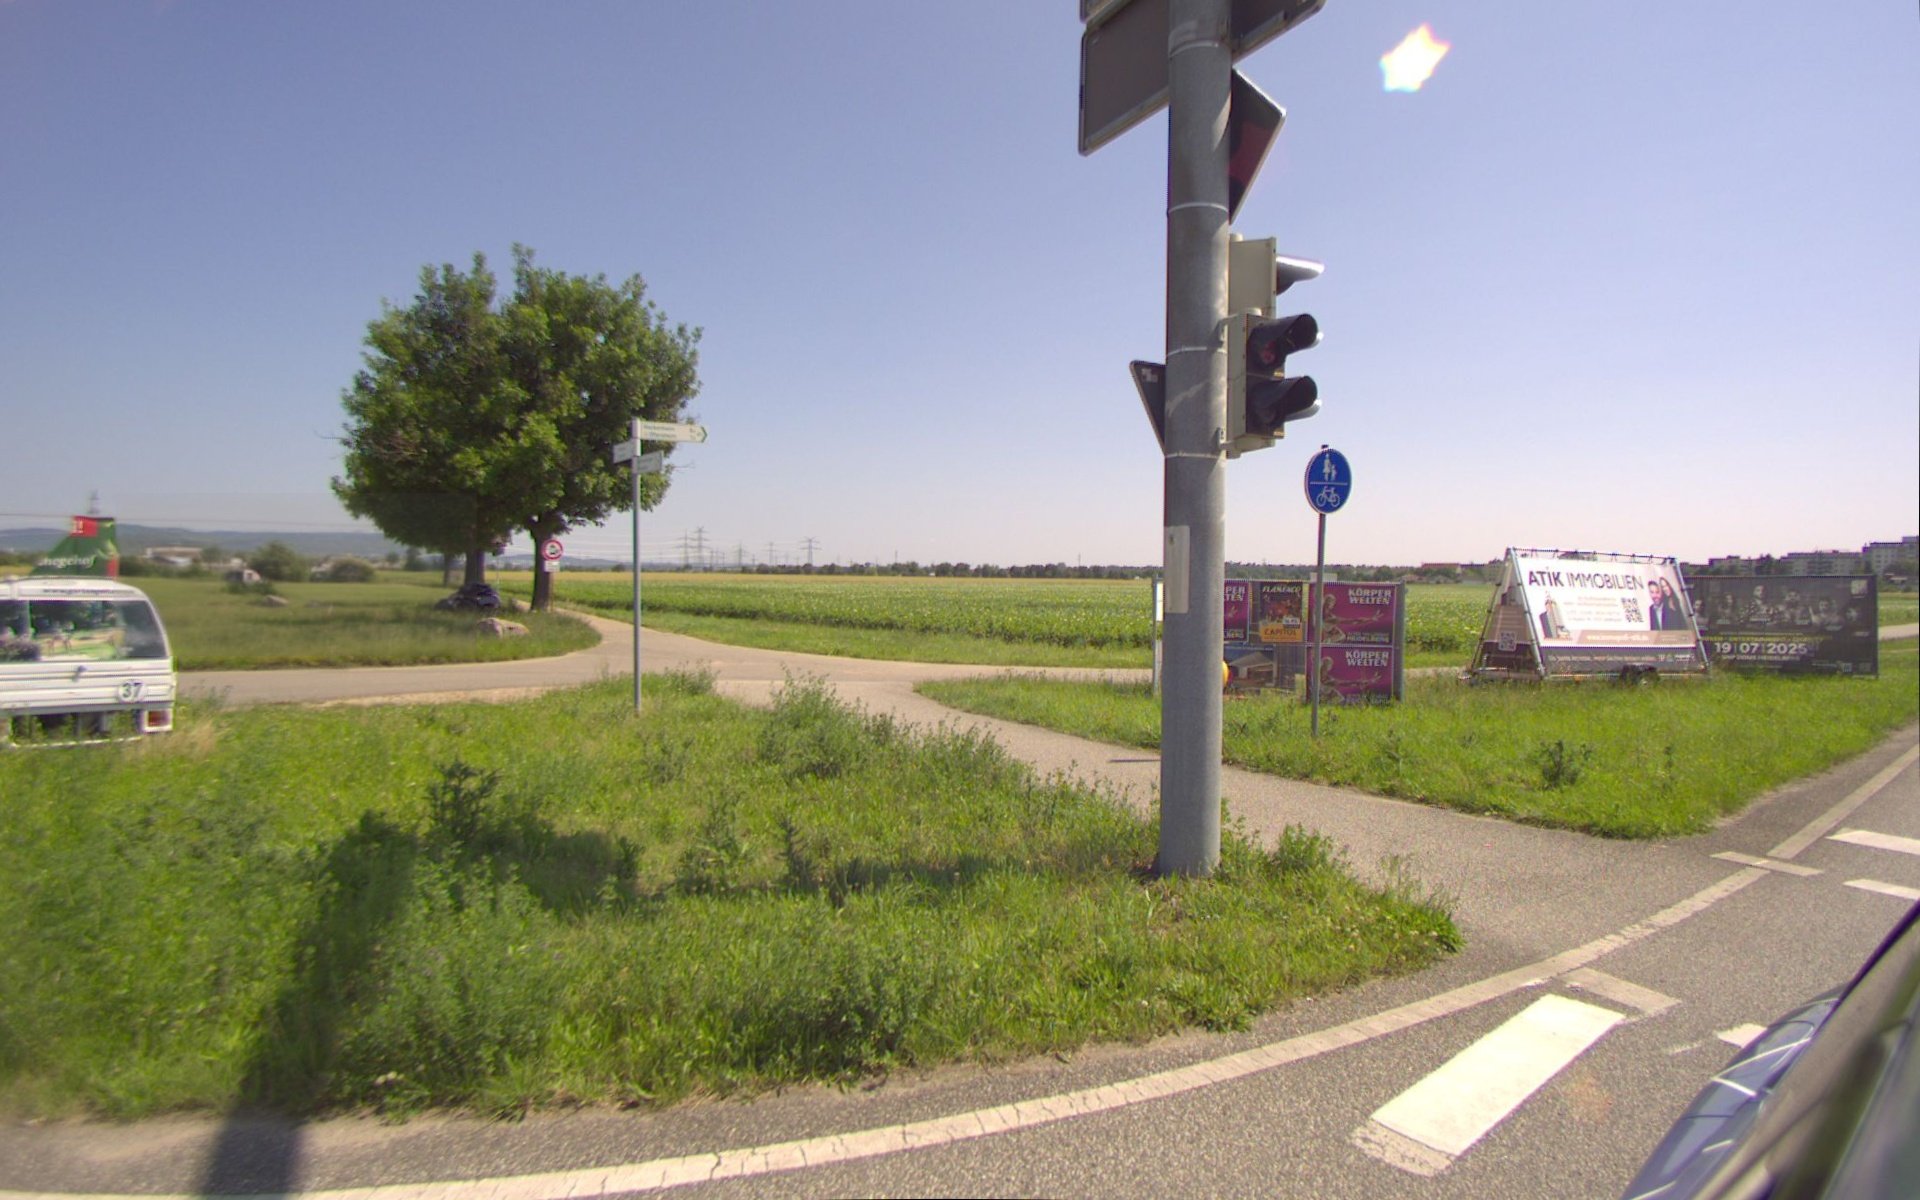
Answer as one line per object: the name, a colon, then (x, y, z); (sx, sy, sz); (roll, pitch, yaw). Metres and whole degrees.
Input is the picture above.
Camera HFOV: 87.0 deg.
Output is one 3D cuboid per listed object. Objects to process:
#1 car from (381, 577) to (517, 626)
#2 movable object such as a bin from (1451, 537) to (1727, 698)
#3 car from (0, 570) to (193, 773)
car: (-16.896, 0.019, 33.502); (3.810, 1.546, 1.762); (-1, 1, -36)
movable object such as a bin: (10.314, 0.209, 16.572); (4.332, 2.392, 1.529); (-1, 0, -22)
car: (-8.059, 0.511, 9.090); (3.336, 1.518, 1.379); (1, 1, 44)
